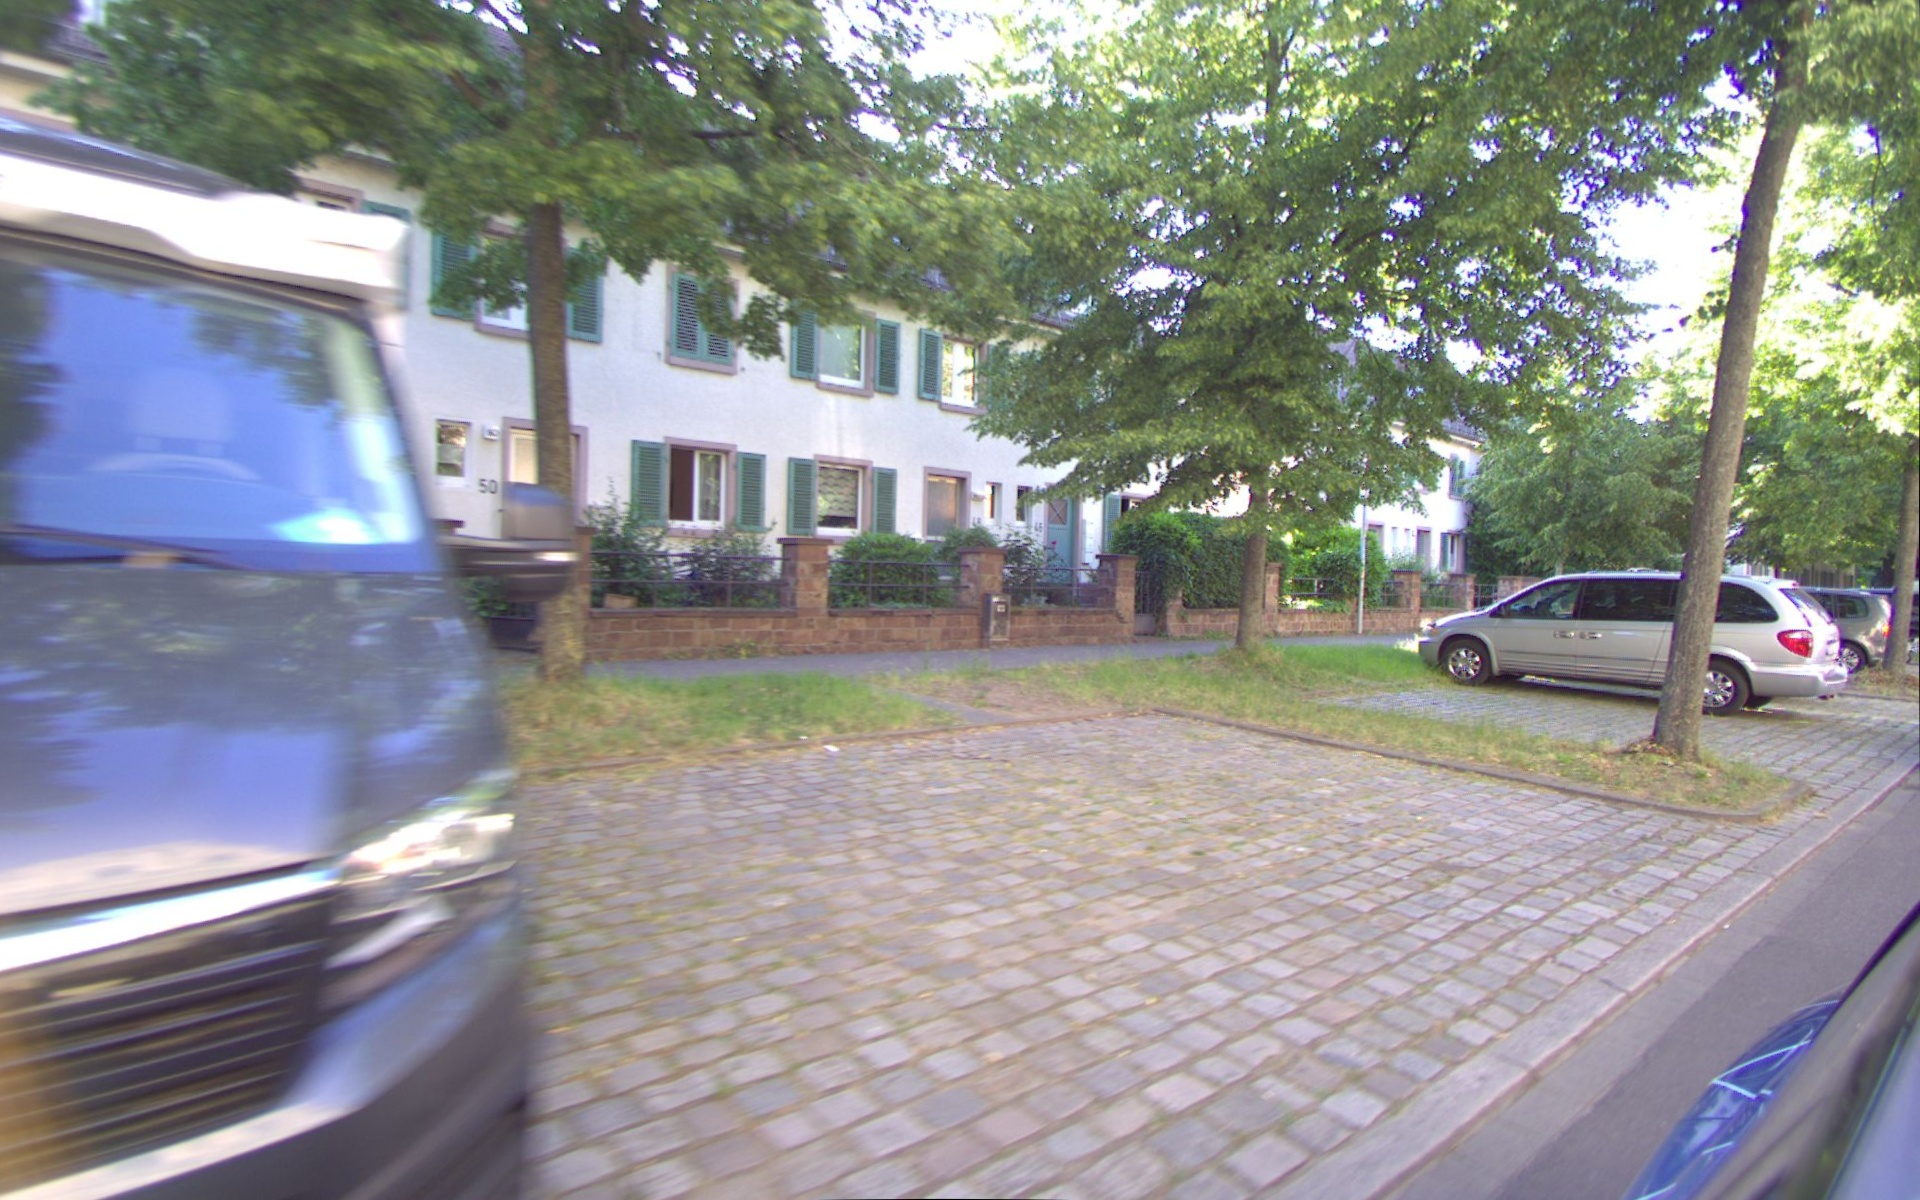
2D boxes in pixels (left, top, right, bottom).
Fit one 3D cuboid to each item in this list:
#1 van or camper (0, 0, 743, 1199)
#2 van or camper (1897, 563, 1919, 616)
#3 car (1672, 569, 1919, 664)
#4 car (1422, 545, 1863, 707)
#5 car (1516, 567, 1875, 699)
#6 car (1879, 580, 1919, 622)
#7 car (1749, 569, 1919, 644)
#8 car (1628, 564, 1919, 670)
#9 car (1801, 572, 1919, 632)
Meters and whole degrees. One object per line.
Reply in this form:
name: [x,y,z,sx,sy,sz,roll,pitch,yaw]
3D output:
van or camper: [-3.545,-0.268,3.759,2.419,2.678,7.171,0,5,-38]
van or camper: [48.893,-0.293,48.348,2.124,2.546,5.734,0,5,-40]
car: [18.877,0.289,22.776,1.659,1.653,4.288,0,5,-37]
car: [9.096,0.201,13.902,1.800,1.730,4.633,0,4,-38]
car: [11.051,0.398,15.475,1.663,1.494,4.080,1,4,-39]
car: [38.996,0.185,39.167,1.862,1.557,4.848,0,5,-42]
car: [24.499,0.174,27.364,1.872,1.697,4.597,0,5,-38]
car: [16.597,0.251,20.705,4.543,1.653,1.783,7,5,44]
car: [29.881,0.099,32.192,1.843,1.653,4.487,0,5,-41]
